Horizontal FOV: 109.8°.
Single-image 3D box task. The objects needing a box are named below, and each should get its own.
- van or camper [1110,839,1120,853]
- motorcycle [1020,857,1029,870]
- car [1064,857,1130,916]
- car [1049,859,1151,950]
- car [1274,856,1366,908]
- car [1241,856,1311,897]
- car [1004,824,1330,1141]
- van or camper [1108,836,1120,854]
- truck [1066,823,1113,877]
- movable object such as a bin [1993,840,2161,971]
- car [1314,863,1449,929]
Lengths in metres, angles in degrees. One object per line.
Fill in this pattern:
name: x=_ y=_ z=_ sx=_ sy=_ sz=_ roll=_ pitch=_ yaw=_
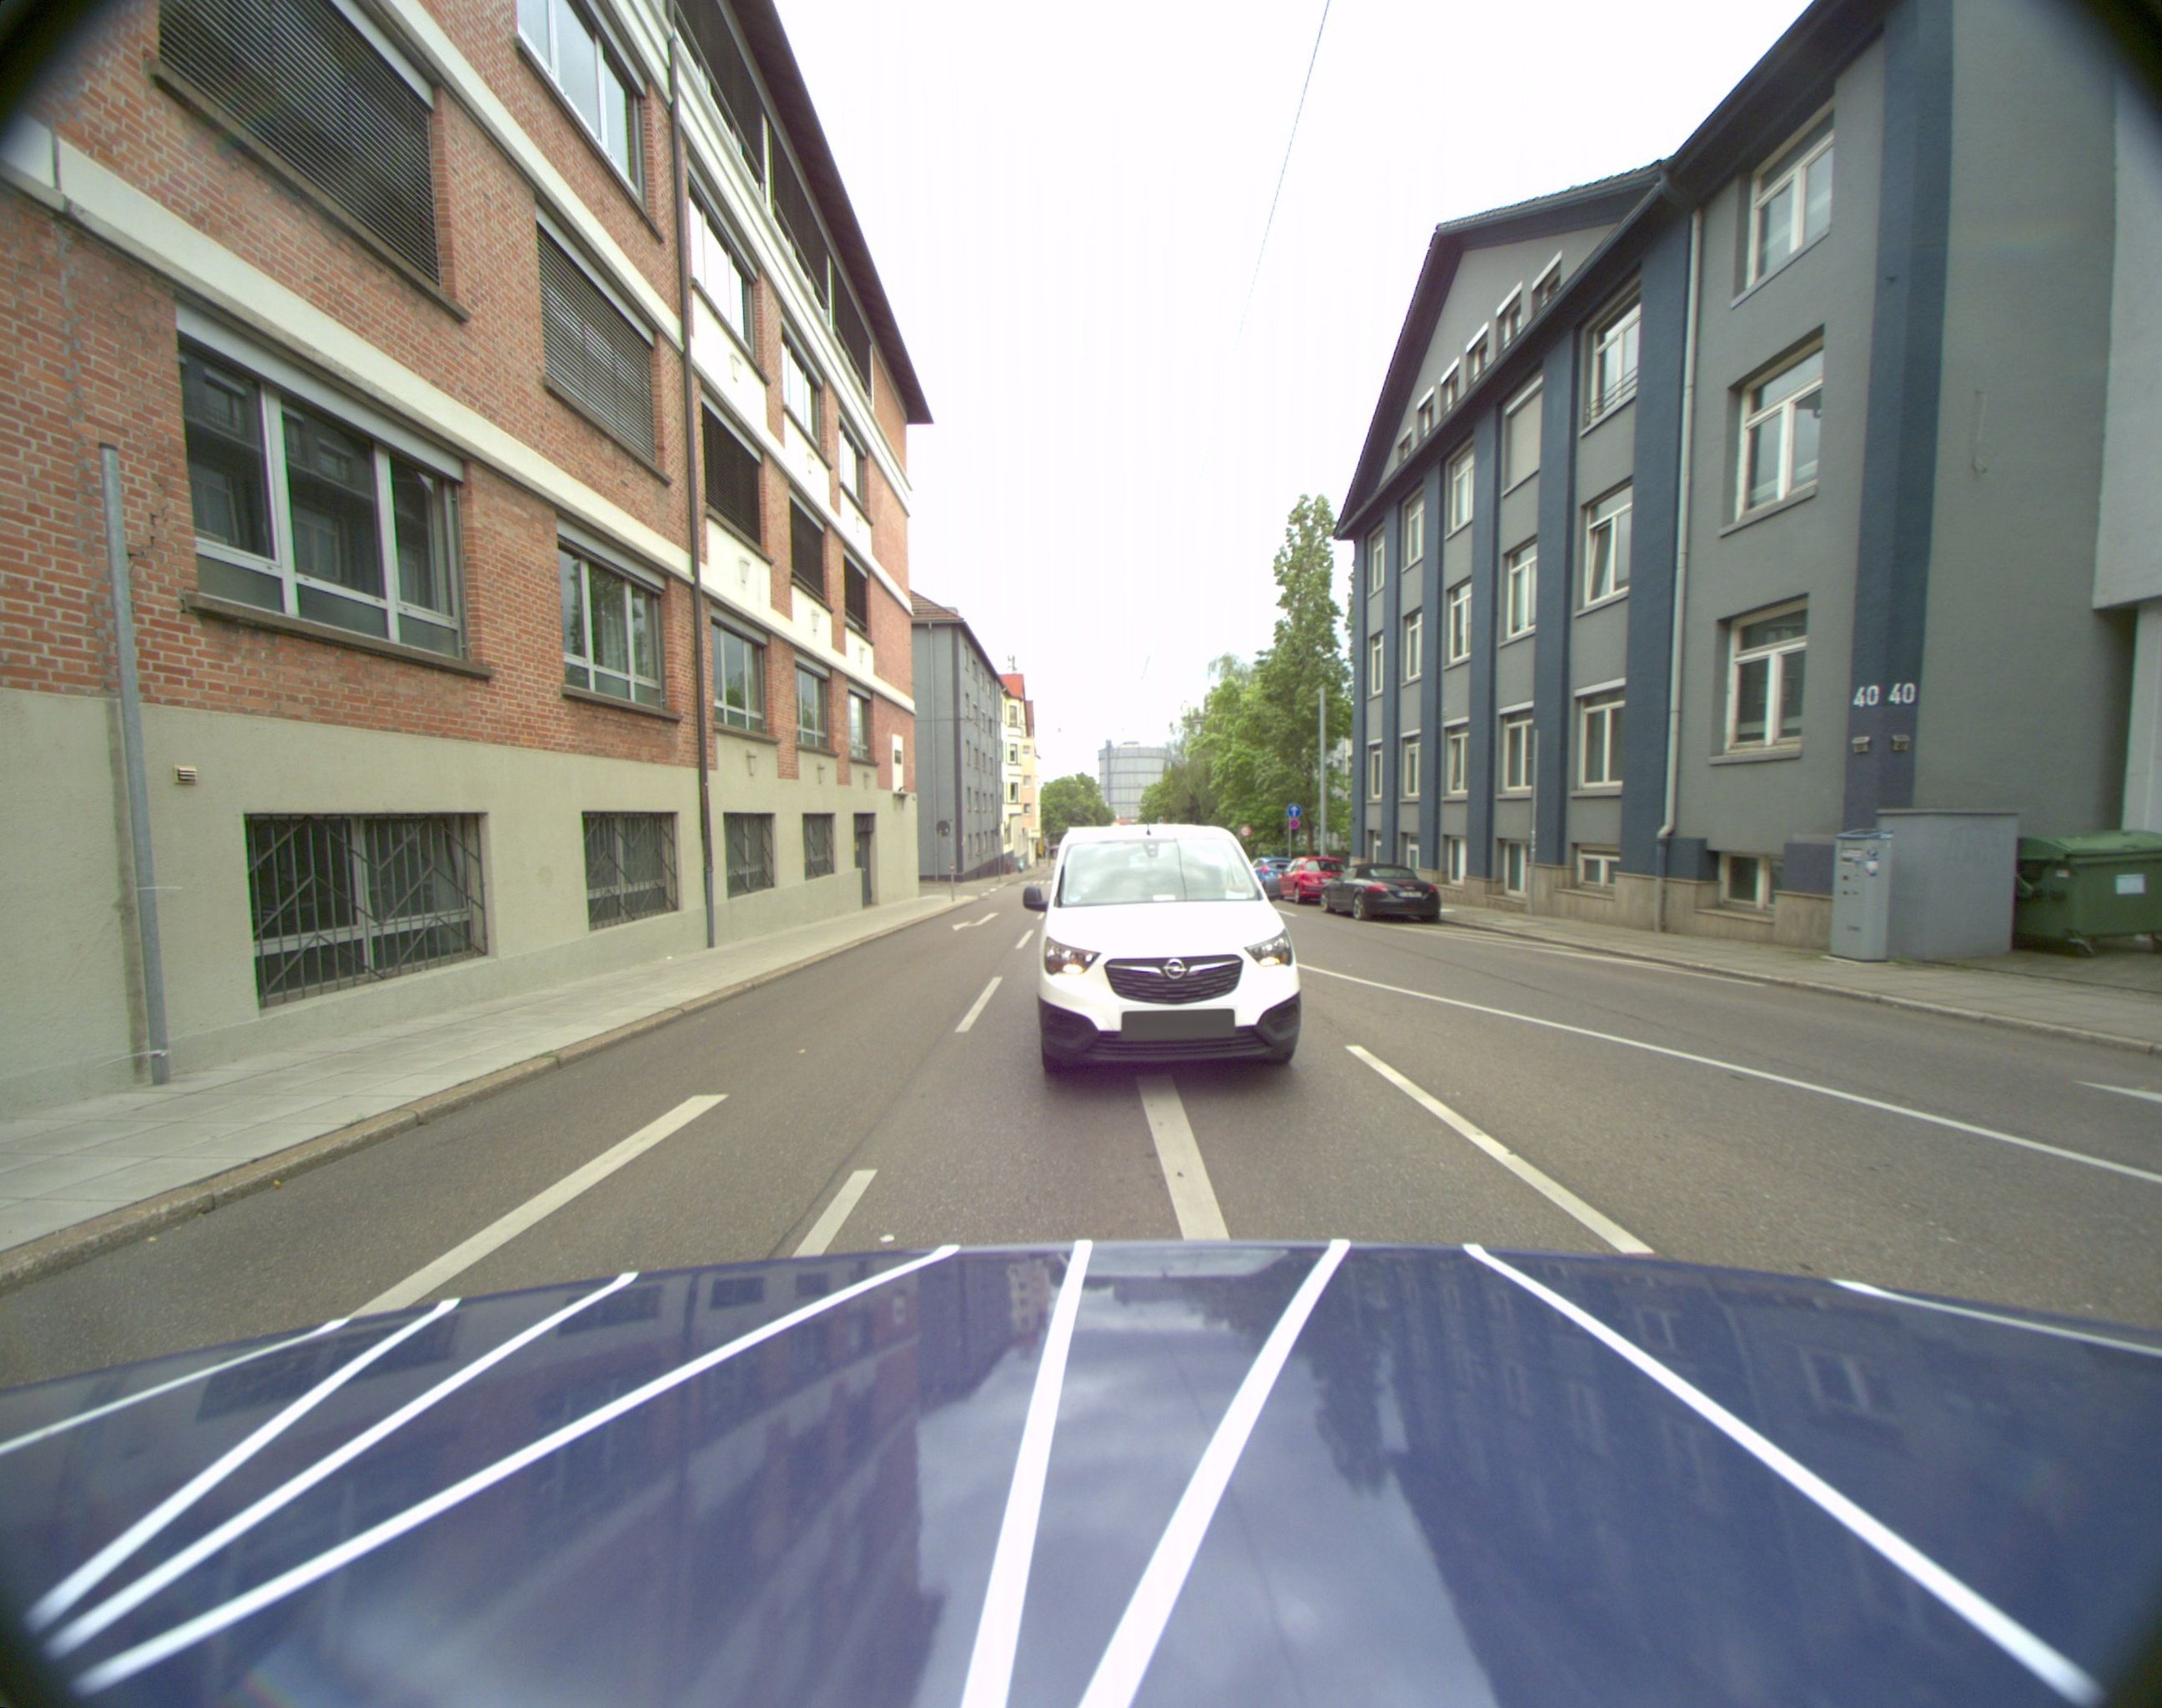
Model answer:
van or camper: x=6.721 y=-1.536 z=149.787 sx=1.914 sy=2.754 sz=5.925 roll=1 pitch=0 yaw=2
motorcycle: x=-5.110 y=0.862 z=68.602 sx=0.566 sy=1.105 sz=1.653 roll=4 pitch=0 yaw=2
car: x=0.476 y=0.858 z=21.683 sx=1.724 sy=1.486 sz=3.727 roll=1 pitch=0 yaw=2
car: x=0.379 y=0.877 z=14.772 sx=1.724 sy=1.486 sz=3.727 roll=1 pitch=0 yaw=2
car: x=7.515 y=0.831 z=24.293 sx=1.819 sy=1.465 sz=3.869 roll=2 pitch=0 yaw=2
car: x=7.552 y=0.830 z=29.777 sx=1.724 sy=1.445 sz=3.727 roll=1 pitch=0 yaw=0
car: x=0.550 y=0.747 z=6.919 sx=1.840 sy=1.797 sz=4.939 roll=-2 pitch=0 yaw=1
van or camper: x=5.182 y=-1.361 z=119.932 sx=1.914 sy=2.754 sz=5.925 roll=1 pitch=0 yaw=2
truck: x=0.635 y=-0.281 z=54.709 sx=2.980 sy=3.394 sz=9.358 roll=-2 pitch=0 yaw=1
movable object such as a bin: x=12.066 y=0.589 z=9.106 sx=1.267 sy=1.448 sz=0.784 roll=-3 pitch=2 yaw=4
car: x=7.180 y=0.945 z=18.610 sx=1.724 sy=1.319 sz=4.041 roll=2 pitch=0 yaw=1
